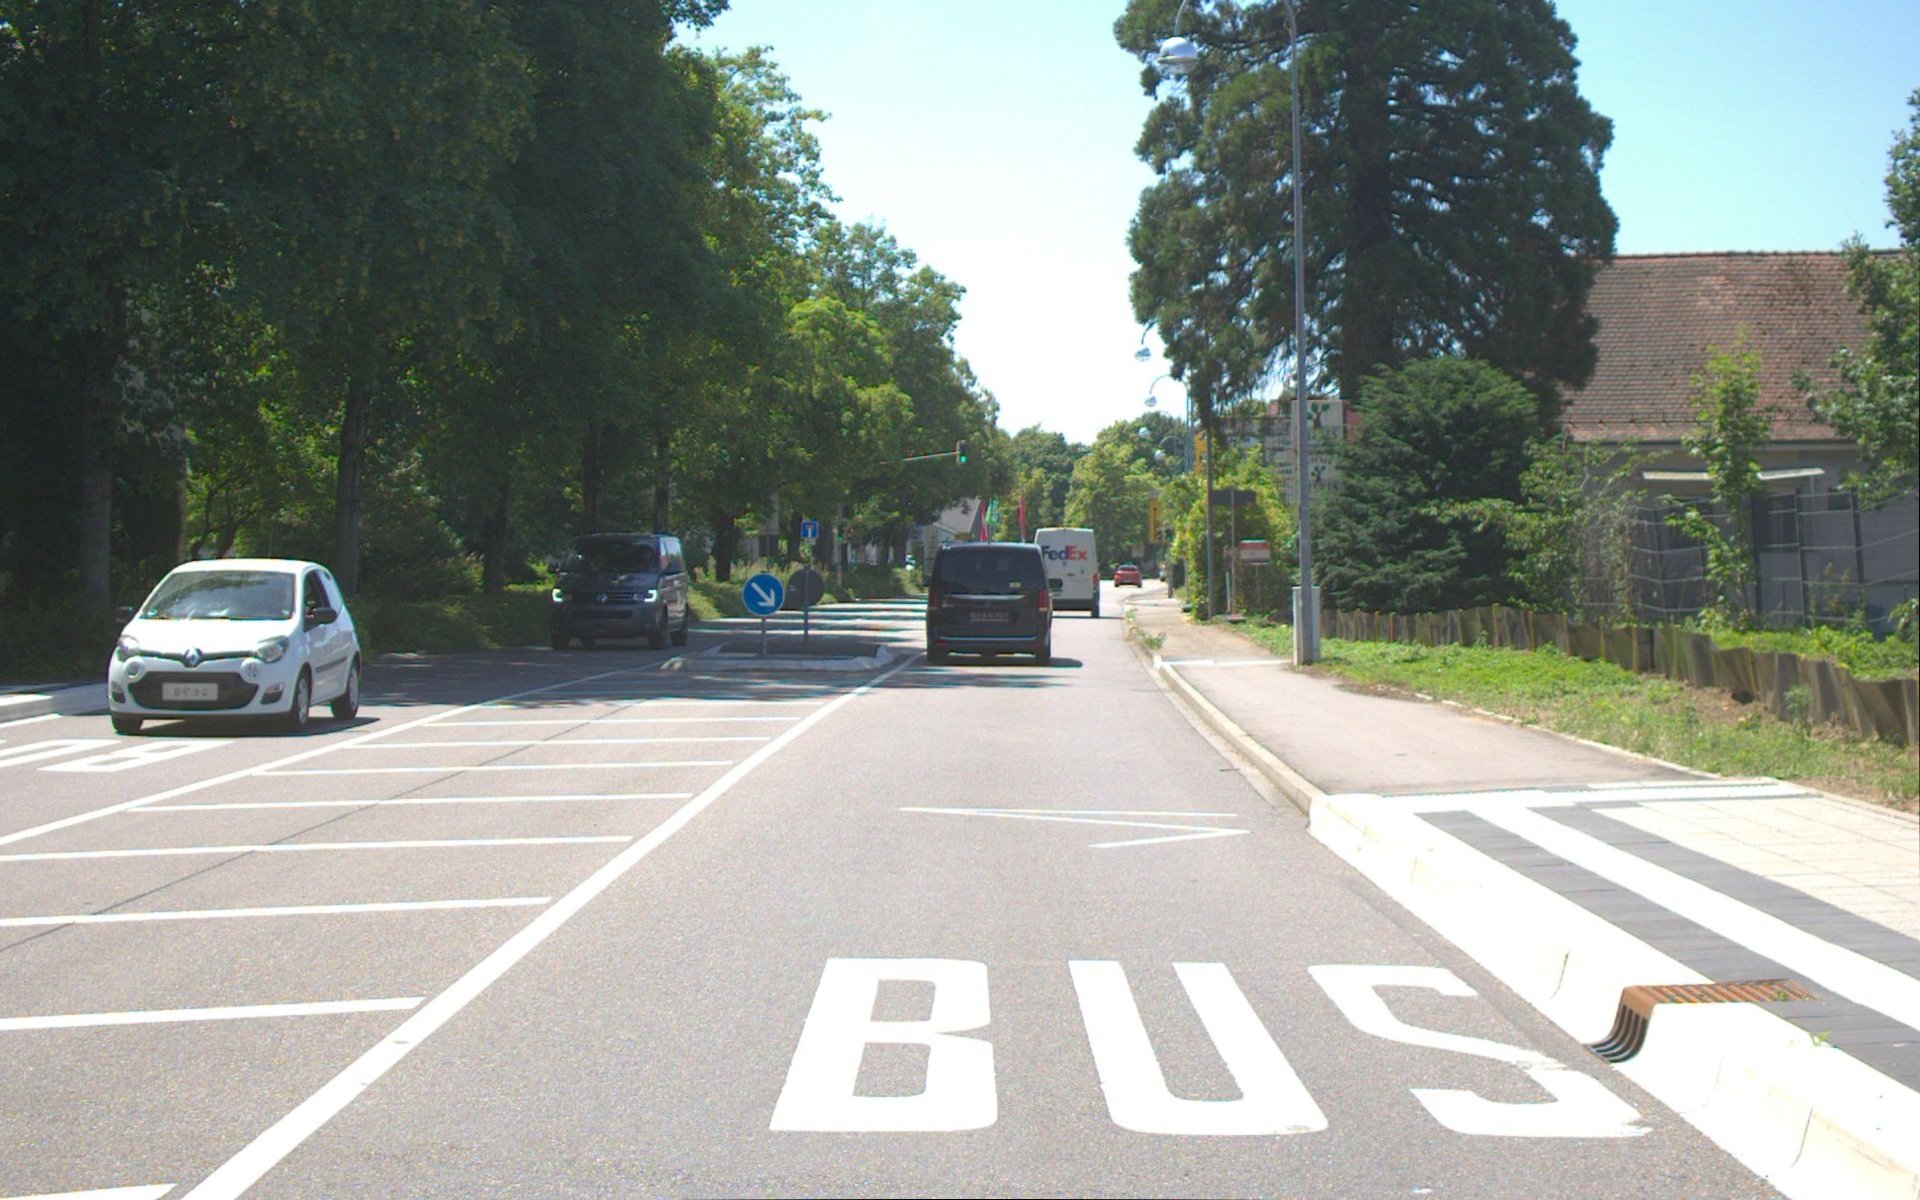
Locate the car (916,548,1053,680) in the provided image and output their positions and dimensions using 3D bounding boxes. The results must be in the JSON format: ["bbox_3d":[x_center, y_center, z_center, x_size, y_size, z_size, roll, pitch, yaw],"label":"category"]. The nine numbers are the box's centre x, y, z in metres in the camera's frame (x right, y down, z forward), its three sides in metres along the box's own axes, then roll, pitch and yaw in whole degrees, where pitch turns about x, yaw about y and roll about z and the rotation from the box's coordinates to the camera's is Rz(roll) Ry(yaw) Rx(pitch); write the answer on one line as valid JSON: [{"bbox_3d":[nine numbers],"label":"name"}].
[{"bbox_3d":[0.366,0.176,52.904,1.993,1.887,4.000,1,1,0],"label":"car"}]

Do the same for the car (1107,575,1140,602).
[{"bbox_3d":[10.720,-0.768,225.621,1.857,1.637,4.000,1,1,-1],"label":"car"}]

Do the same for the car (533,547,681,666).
[{"bbox_3d":[-5.987,0.068,58.838,1.993,1.903,4.991,1,1,0],"label":"car"}]

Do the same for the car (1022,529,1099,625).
[{"bbox_3d":[2.949,-0.712,100.272,2.120,2.668,5.662,1,1,2],"label":"car"}]

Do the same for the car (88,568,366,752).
[{"bbox_3d":[-6.406,0.485,30.384,1.690,1.455,3.640,1,1,-1],"label":"car"}]
